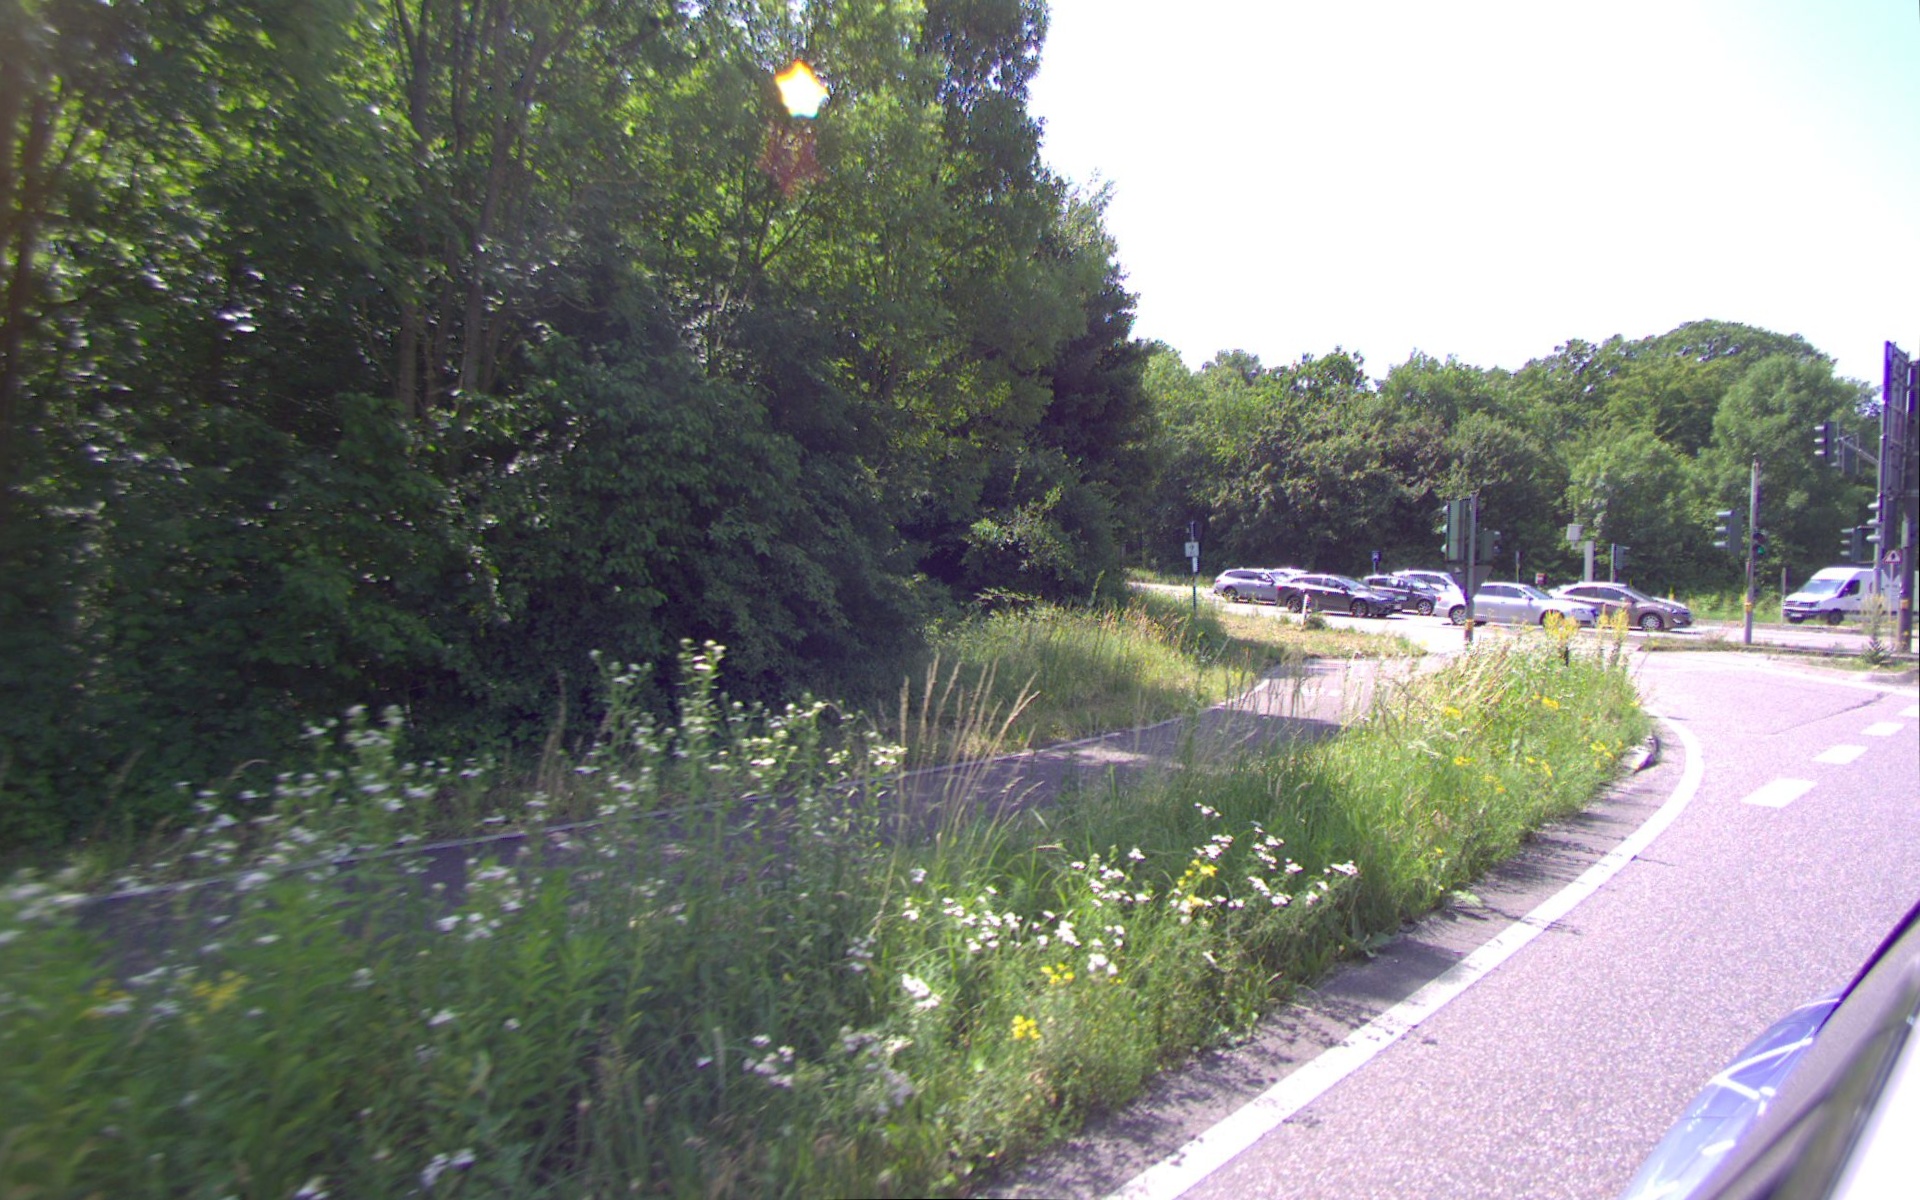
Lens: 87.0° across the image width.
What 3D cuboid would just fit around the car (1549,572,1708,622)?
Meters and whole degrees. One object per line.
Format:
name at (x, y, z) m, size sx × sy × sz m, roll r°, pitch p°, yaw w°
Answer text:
car at (24.218, -0.163, 36.784) m, size 1.965 × 1.554 × 4.429 m, roll 0°, pitch 3°, yaw -41°

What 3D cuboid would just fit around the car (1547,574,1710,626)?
car at (22.034, -0.048, 33.464) m, size 1.961 × 1.464 × 4.100 m, roll 0°, pitch 3°, yaw -41°

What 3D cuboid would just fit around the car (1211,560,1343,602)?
car at (13.582, -0.852, 43.643) m, size 2.100 × 1.552 × 5.143 m, roll -1°, pitch 4°, yaw -39°

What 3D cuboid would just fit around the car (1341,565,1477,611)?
car at (17.579, -0.517, 39.795) m, size 2.085 × 1.554 × 4.431 m, roll -1°, pitch 4°, yaw -39°

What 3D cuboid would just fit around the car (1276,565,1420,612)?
car at (14.440, -0.472, 37.887) m, size 2.074 × 1.516 × 4.629 m, roll -1°, pitch 4°, yaw -39°

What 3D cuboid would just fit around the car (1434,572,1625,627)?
car at (18.214, -0.098, 32.589) m, size 1.984 × 1.516 × 4.945 m, roll -1°, pitch 3°, yaw -38°

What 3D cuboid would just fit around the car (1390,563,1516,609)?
car at (20.120, -0.616, 41.441) m, size 1.964 × 1.679 × 4.183 m, roll 0°, pitch 3°, yaw -39°

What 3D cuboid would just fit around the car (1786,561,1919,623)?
car at (40.628, -0.349, 45.448) m, size 5.935 × 2.678 × 1.979 m, roll 1°, pitch 0°, yaw -9°
